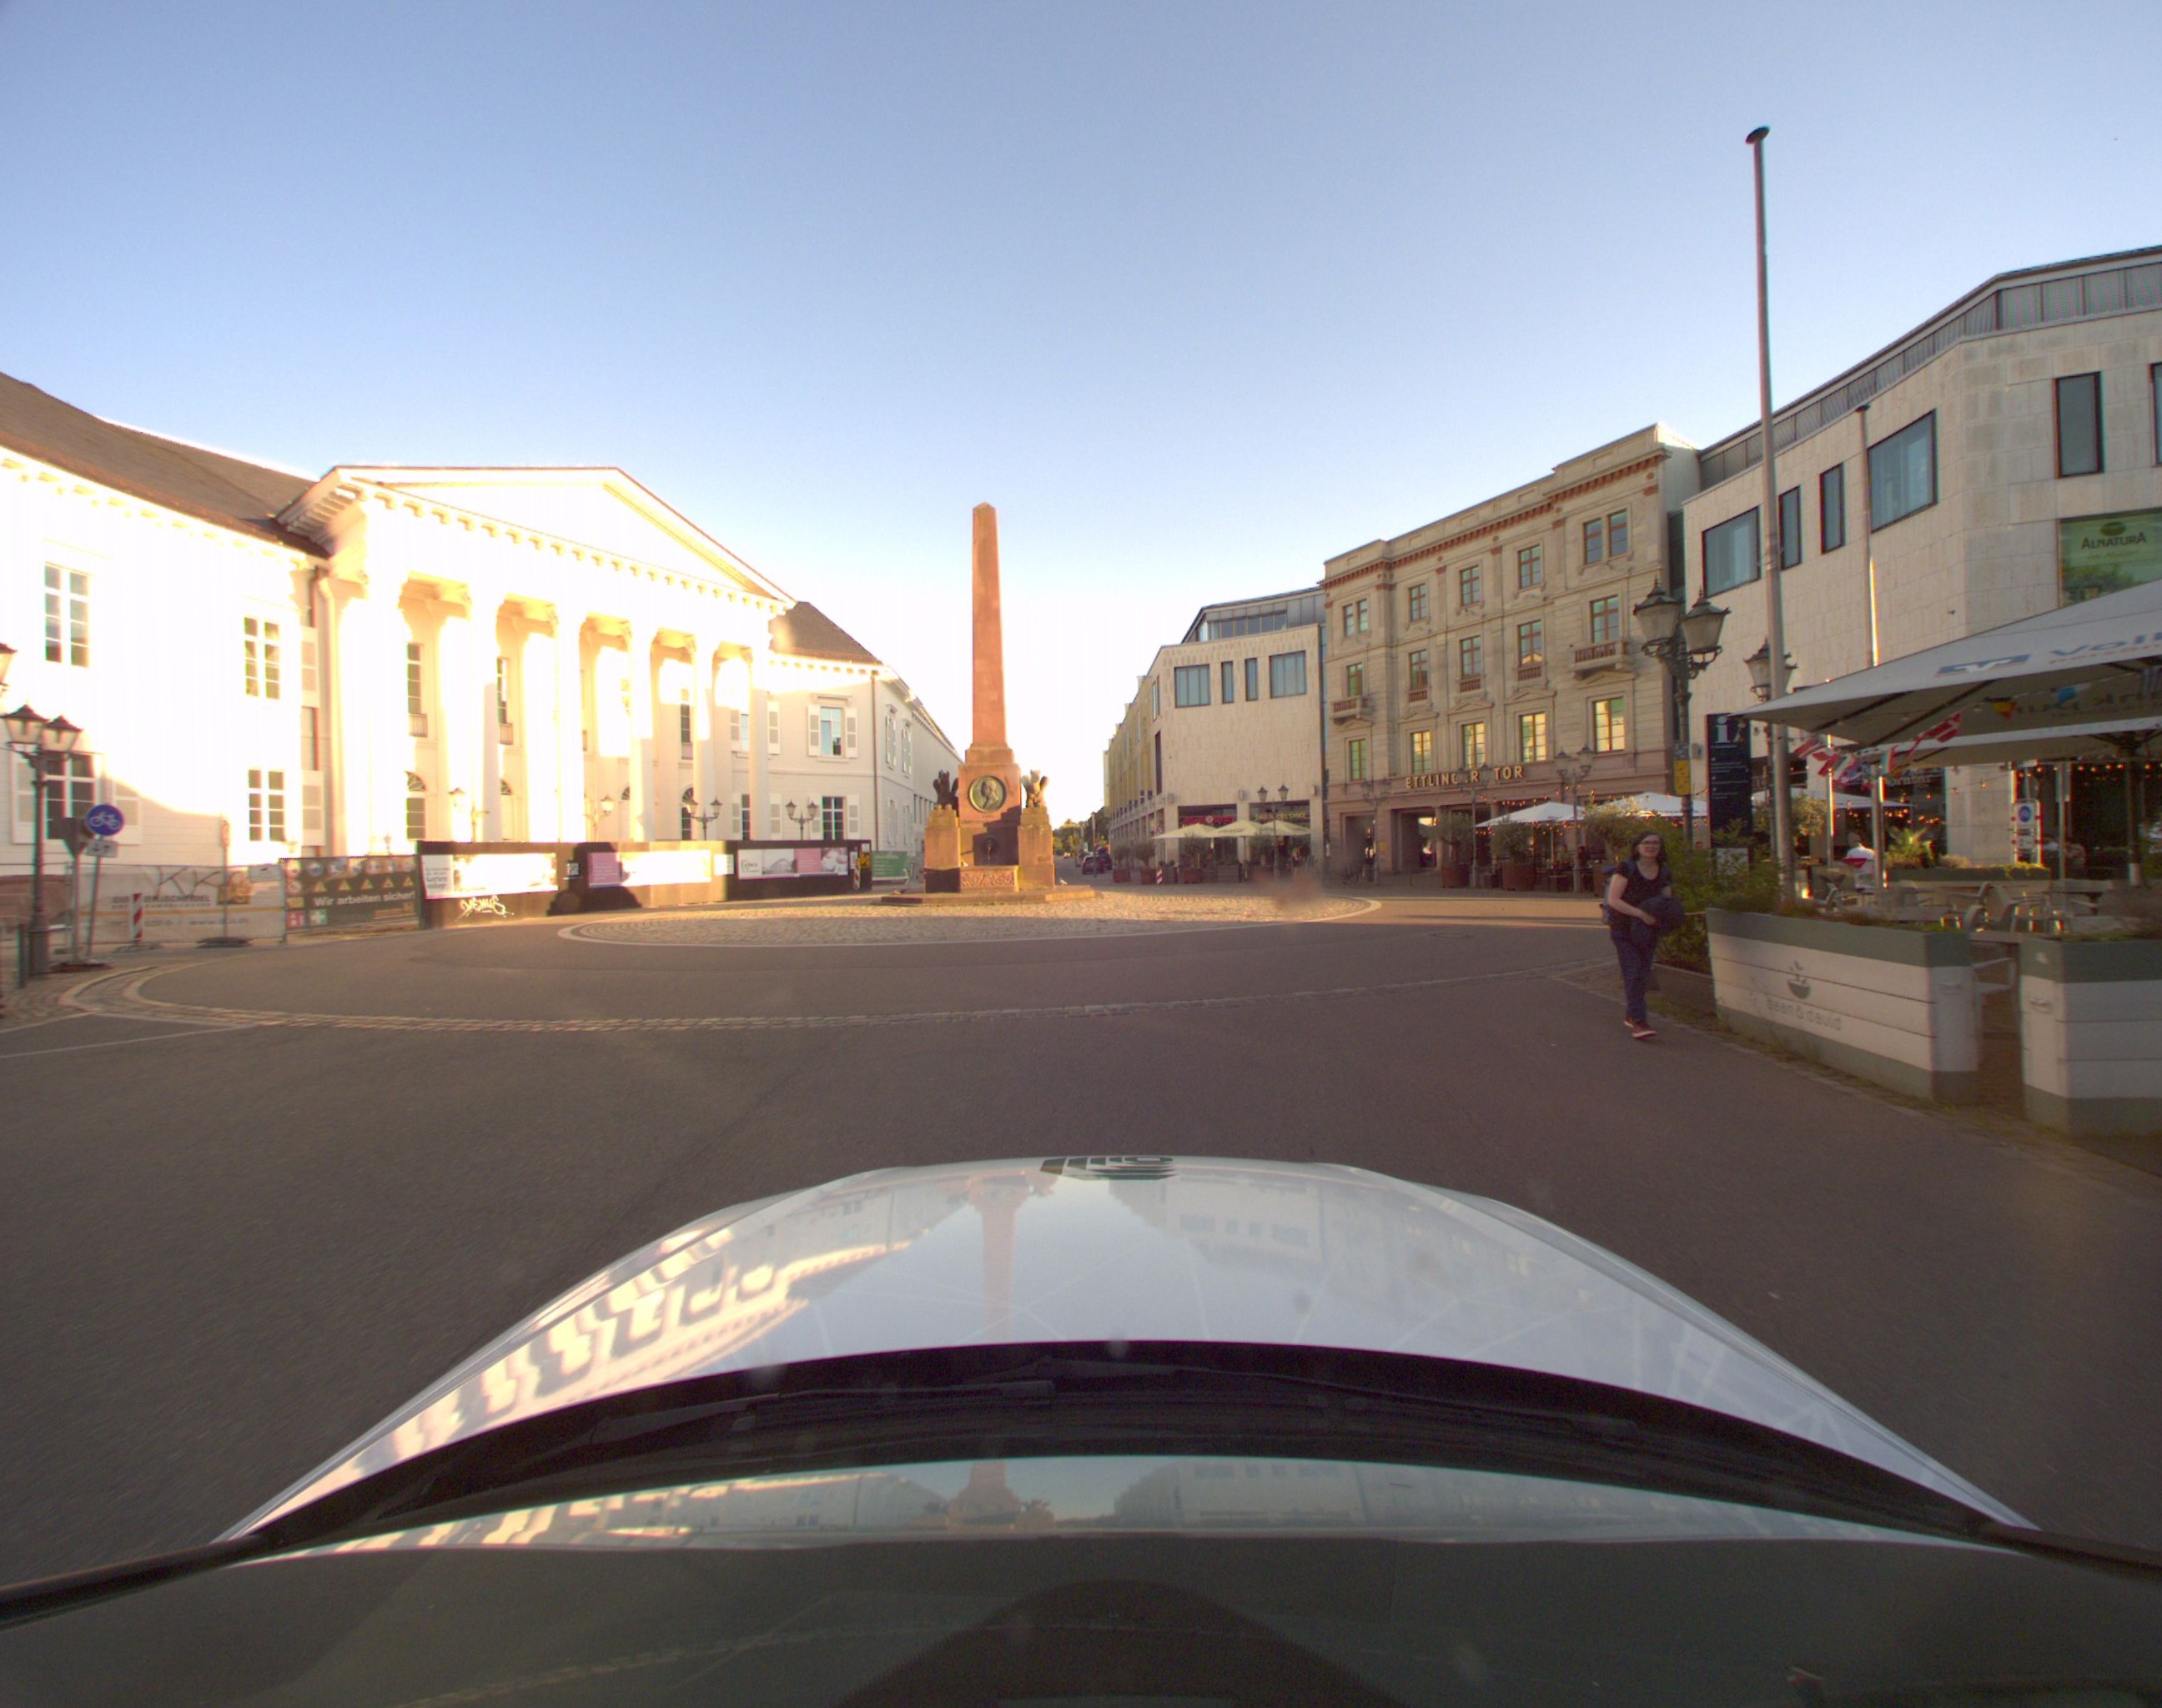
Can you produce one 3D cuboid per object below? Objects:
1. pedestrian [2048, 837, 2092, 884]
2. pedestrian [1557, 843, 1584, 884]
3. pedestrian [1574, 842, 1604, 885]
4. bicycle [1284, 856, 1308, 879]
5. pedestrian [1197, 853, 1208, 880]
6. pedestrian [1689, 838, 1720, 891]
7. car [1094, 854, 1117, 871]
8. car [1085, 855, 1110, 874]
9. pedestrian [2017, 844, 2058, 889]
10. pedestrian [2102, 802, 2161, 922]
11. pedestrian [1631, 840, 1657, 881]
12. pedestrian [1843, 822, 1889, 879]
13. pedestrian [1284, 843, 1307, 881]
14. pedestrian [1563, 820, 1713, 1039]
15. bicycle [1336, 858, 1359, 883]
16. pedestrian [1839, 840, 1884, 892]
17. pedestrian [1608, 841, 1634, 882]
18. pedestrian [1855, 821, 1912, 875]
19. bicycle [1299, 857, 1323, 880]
[{"bbox_3d":[24.843,0.164,20.462,0.494,1.156,0.472,-1,0,7],"label":"pedestrian"},{"bbox_3d":[17.710,0.336,29.463,0.542,1.478,0.624,-2,0,0],"label":"pedestrian"},{"bbox_3d":[17.764,0.334,28.475,0.585,1.478,0.684,-2,0,1],"label":"pedestrian"},{"bbox_3d":[10.422,0.655,39.400,0.593,1.031,1.656,-1,0,34],"label":"bicycle"},{"bbox_3d":[6.524,0.674,43.727,0.503,1.398,0.497,-1,0,14],"label":"pedestrian"},{"bbox_3d":[17.704,0.281,23.132,0.524,1.478,0.565,-2,0,17],"label":"pedestrian"},{"bbox_3d":[2.254,0.741,75.303,1.987,1.464,3.999,-1,0,0],"label":"car"},{"bbox_3d":[1.337,0.817,66.801,1.987,1.464,3.999,-1,0,0],"label":"car"},{"bbox_3d":[24.015,0.312,20.448,0.538,1.111,0.546,-1,0,-29],"label":"pedestrian"},{"bbox_3d":[17.825,0.117,13.376,1.010,1.932,1.020,-1,0,-20],"label":"pedestrian"},{"bbox_3d":[20.865,0.244,30.172,0.540,1.478,0.626,-2,0,9],"label":"pedestrian"},{"bbox_3d":[23.315,-0.116,24.195,0.689,1.647,0.694,-2,0,9],"label":"pedestrian"},{"bbox_3d":[9.993,0.382,37.957,0.900,1.728,0.851,-2,0,6],"label":"pedestrian"},{"bbox_3d":[4.452,0.575,6.554,0.688,1.647,0.695,-2,0,-2],"label":"pedestrian"},{"bbox_3d":[11.681,0.716,35.679,0.501,1.031,1.656,-2,0,34],"label":"bicycle"},{"bbox_3d":[20.145,0.292,21.028,0.543,1.310,0.728,-2,0,17],"label":"pedestrian"},{"bbox_3d":[20.023,0.268,30.211,0.586,1.478,0.626,-2,0,9],"label":"pedestrian"},{"bbox_3d":[25.282,-0.184,25.666,0.922,1.647,0.870,-2,0,10],"label":"pedestrian"},{"bbox_3d":[11.060,0.685,39.093,0.613,1.031,1.656,-1,0,34],"label":"bicycle"}]
